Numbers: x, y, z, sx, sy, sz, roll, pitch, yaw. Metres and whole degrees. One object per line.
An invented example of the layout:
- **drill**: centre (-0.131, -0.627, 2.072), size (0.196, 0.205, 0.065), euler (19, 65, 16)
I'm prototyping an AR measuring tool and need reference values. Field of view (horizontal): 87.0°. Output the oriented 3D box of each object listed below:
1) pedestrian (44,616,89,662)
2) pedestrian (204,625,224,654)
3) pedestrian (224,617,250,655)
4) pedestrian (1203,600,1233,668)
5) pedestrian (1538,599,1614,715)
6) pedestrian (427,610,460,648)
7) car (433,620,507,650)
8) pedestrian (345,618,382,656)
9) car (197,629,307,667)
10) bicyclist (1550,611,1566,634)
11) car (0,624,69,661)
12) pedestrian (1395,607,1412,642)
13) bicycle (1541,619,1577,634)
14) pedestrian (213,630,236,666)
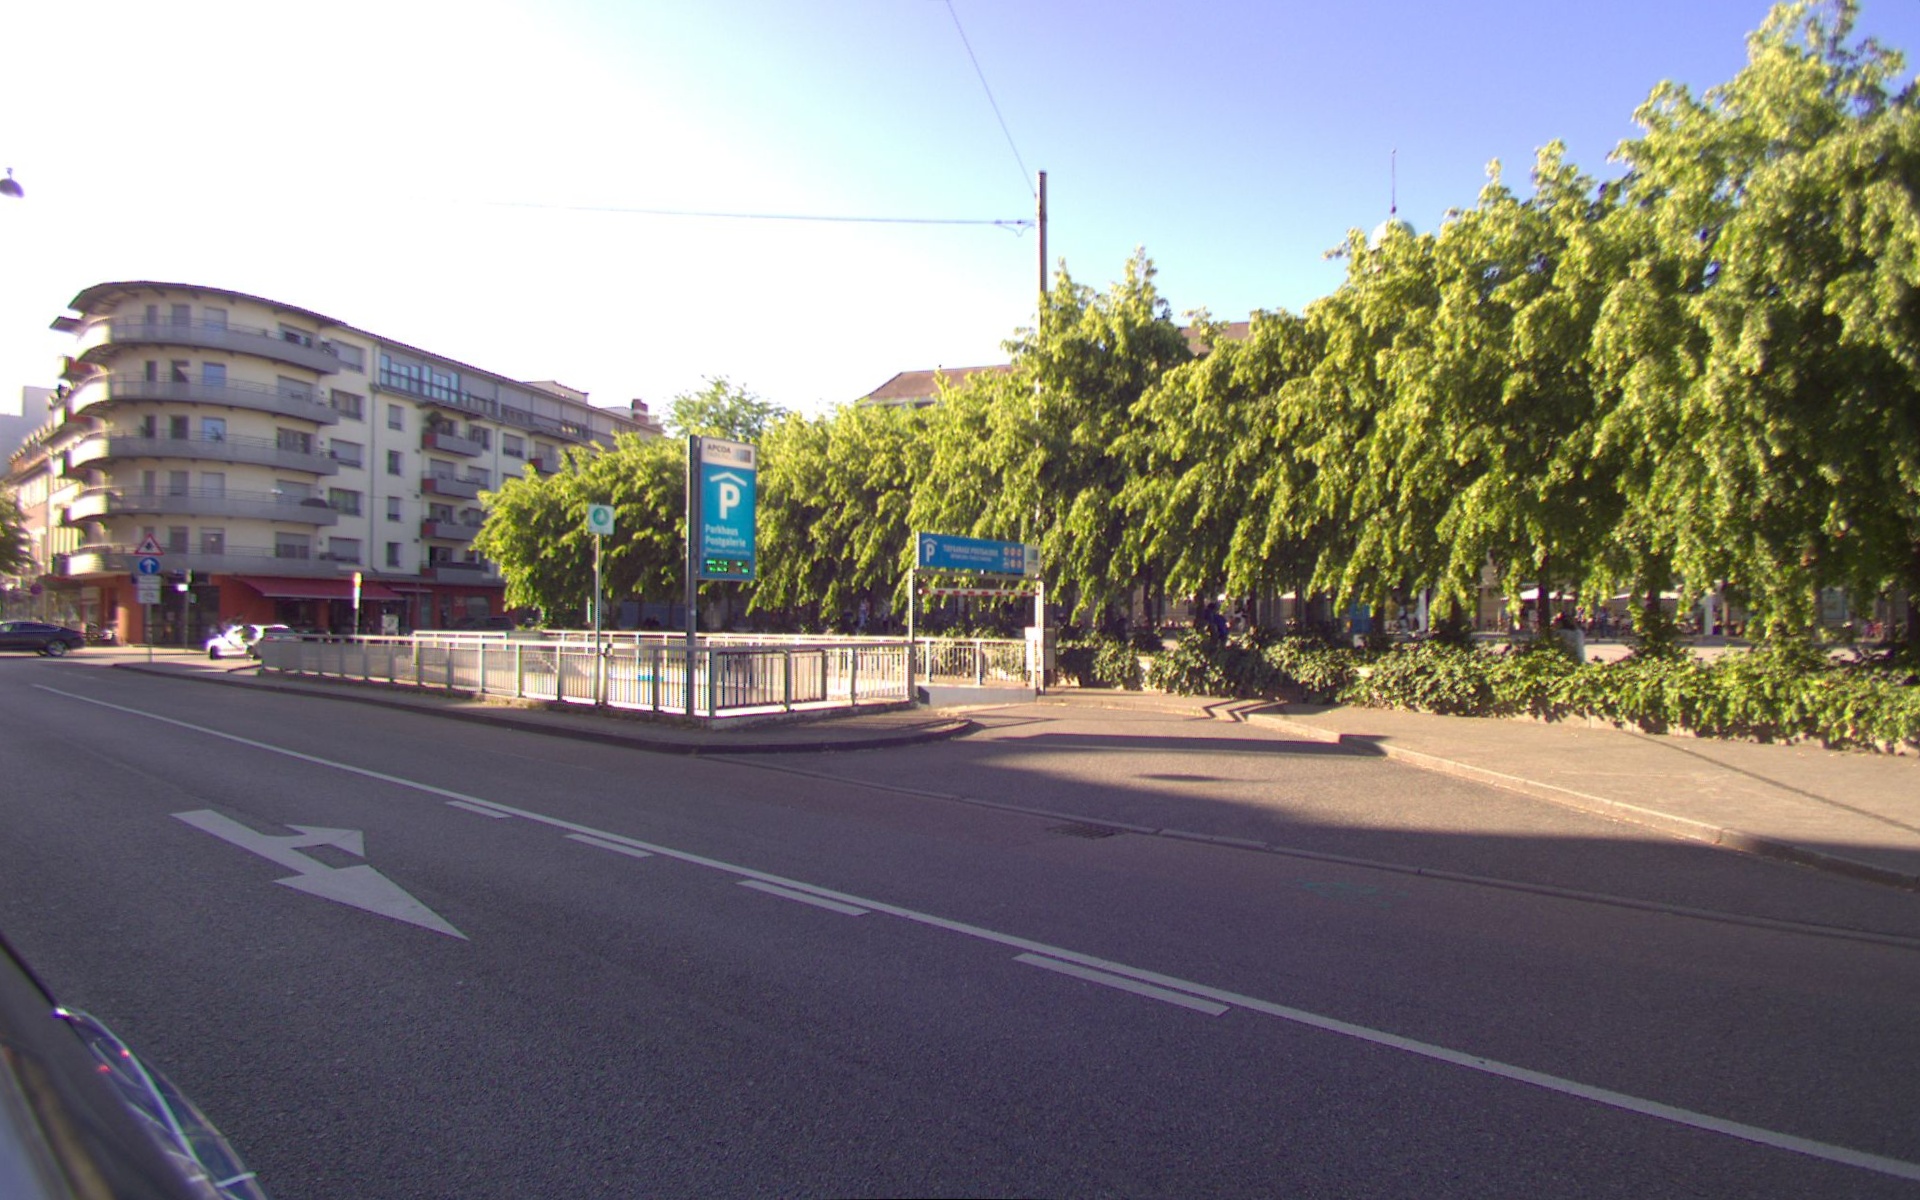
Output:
- **pedestrian**: centre (-40.784, 1.765, 46.219), size (1.008, 2.029, 1.198), euler (-1, 0, 4)
- **pedestrian**: centre (-37.767, 1.998, 51.226), size (0.780, 1.472, 0.583), euler (0, -1, -40)
- **pedestrian**: centre (-35.499, 1.762, 49.679), size (0.746, 1.819, 0.755), euler (-1, -1, -1)
- **pedestrian**: centre (6.427, 0.840, 25.242), size (0.672, 1.683, 0.843), euler (-1, -1, 13)
- **pedestrian**: centre (9.742, 0.877, 16.007), size (0.885, 1.771, 0.738), euler (0, -1, -39)
- **pedestrian**: centre (-27.849, 1.566, 54.539), size (1.299, 2.029, 1.297), euler (0, -1, -42)
- **car**: centre (-30.556, 2.147, 63.229), size (1.983, 1.763, 3.977), euler (-1, -1, 17)
- **pedestrian**: centre (-32.792, 2.016, 55.632), size (1.251, 2.029, 1.226), euler (-1, -1, 19)
- **car**: centre (-28.173, 1.885, 40.265), size (4.228, 1.445, 1.788), euler (-1, -1, 26)
- **bicyclist**: centre (38.615, 1.451, 65.335), size (0.692, 1.439, 0.670), euler (-1, -1, 16)
- **car**: centre (-37.528, 1.642, 39.160), size (1.995, 1.394, 4.238), euler (-1, -1, 35)
- **pedestrian**: centre (24.677, 1.343, 56.306), size (0.751, 1.948, 0.938), euler (-1, -1, 20)
- **bicycle**: centre (38.659, 1.690, 65.364), size (1.889, 0.961, 0.586), euler (-1, -1, 15)
- **pedestrian**: centre (-35.622, 2.299, 49.037), size (0.696, 1.719, 0.669), euler (-1, -1, 26)
